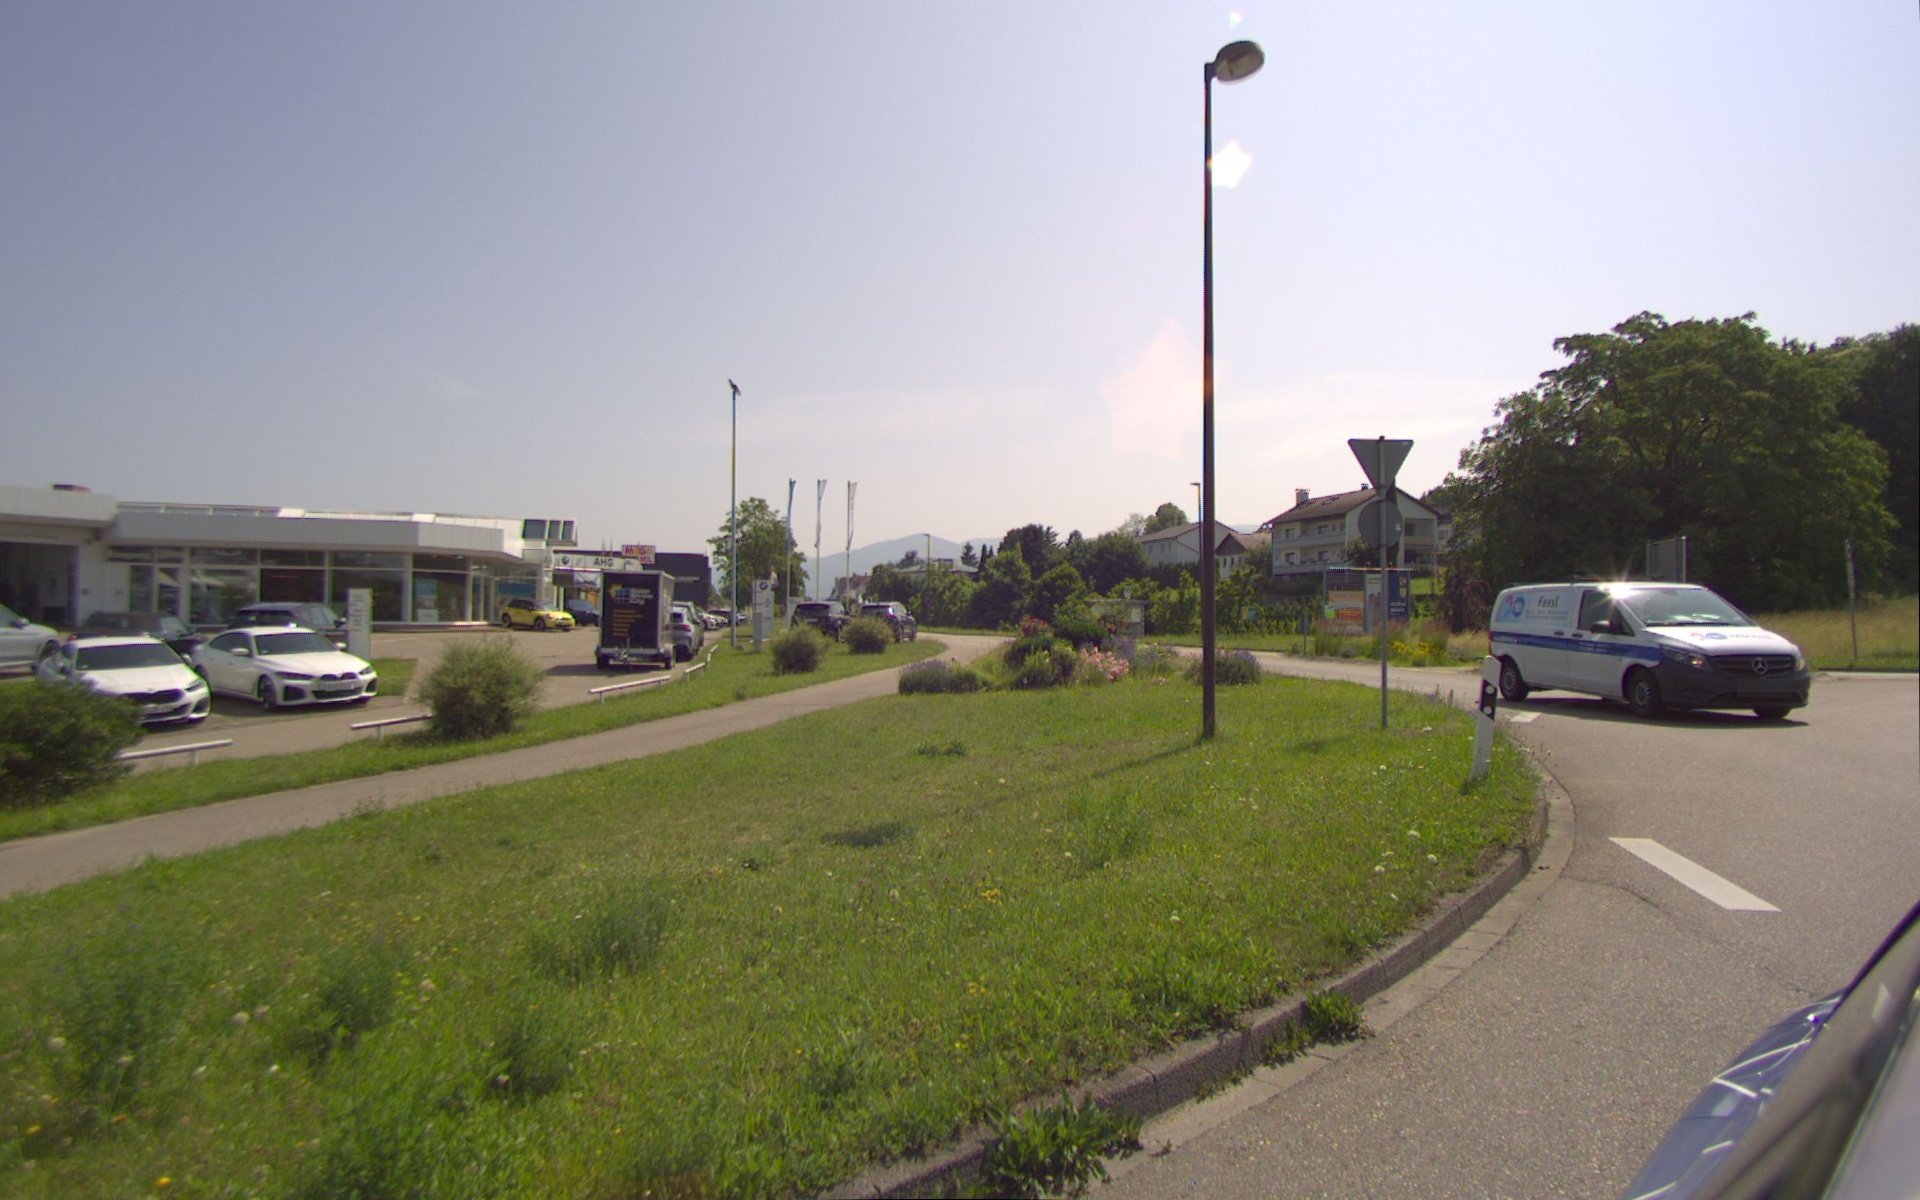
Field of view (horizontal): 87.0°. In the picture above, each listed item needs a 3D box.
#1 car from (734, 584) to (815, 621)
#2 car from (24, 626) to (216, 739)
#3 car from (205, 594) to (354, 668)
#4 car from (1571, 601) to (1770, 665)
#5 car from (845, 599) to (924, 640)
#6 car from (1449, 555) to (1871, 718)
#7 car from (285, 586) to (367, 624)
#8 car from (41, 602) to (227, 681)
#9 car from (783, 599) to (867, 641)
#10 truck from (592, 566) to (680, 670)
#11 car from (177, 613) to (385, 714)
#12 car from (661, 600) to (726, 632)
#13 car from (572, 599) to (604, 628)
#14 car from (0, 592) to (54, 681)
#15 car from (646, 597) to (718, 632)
[{"bbox_3d":[-8.050,0.121,44.308,1.881,1.532,4.356,0,0,14],"label":"car"},{"bbox_3d":[-14.893,1.331,17.859,4.554,1.590,1.744,0,1,39],"label":"car"},{"bbox_3d":[-16.701,0.678,25.104,1.908,1.518,4.437,-1,2,-18],"label":"car"},{"bbox_3d":[19.438,0.959,27.788,4.183,1.637,2.095,-3,-5,43],"label":"car"},{"bbox_3d":[-2.949,0.761,40.514,1.881,1.532,4.356,0,0,14],"label":"car"},{"bbox_3d":[9.922,0.507,15.062,1.822,1.963,5.238,-1,-2,-12],"label":"car"},{"bbox_3d":[-28.564,0.234,45.745,1.870,1.606,4.048,1,0,-13],"label":"car"},{"bbox_3d":[-18.562,0.887,22.983,1.908,1.518,4.018,2,1,-18],"label":"car"},{"bbox_3d":[-5.303,0.770,40.421,1.881,1.532,4.356,0,0,14],"label":"car"},{"bbox_3d":[-9.265,0.493,29.372,1.909,2.699,5.637,1,0,-13],"label":"truck"},{"bbox_3d":[-13.619,1.164,20.219,4.632,1.590,1.747,3,1,33],"label":"car"},{"bbox_3d":[-17.873,1.060,67.927,4.172,2.040,2.003,-1,-2,-14],"label":"car"},{"bbox_3d":[-23.088,0.863,62.932,1.548,1.676,3.704,-1,-2,-15],"label":"car"},{"bbox_3d":[-20.454,0.753,20.314,1.908,1.772,4.017,1,1,-18],"label":"car"},{"bbox_3d":[-16.893,0.883,61.631,4.172,2.040,2.003,-1,-2,-14],"label":"car"}]
